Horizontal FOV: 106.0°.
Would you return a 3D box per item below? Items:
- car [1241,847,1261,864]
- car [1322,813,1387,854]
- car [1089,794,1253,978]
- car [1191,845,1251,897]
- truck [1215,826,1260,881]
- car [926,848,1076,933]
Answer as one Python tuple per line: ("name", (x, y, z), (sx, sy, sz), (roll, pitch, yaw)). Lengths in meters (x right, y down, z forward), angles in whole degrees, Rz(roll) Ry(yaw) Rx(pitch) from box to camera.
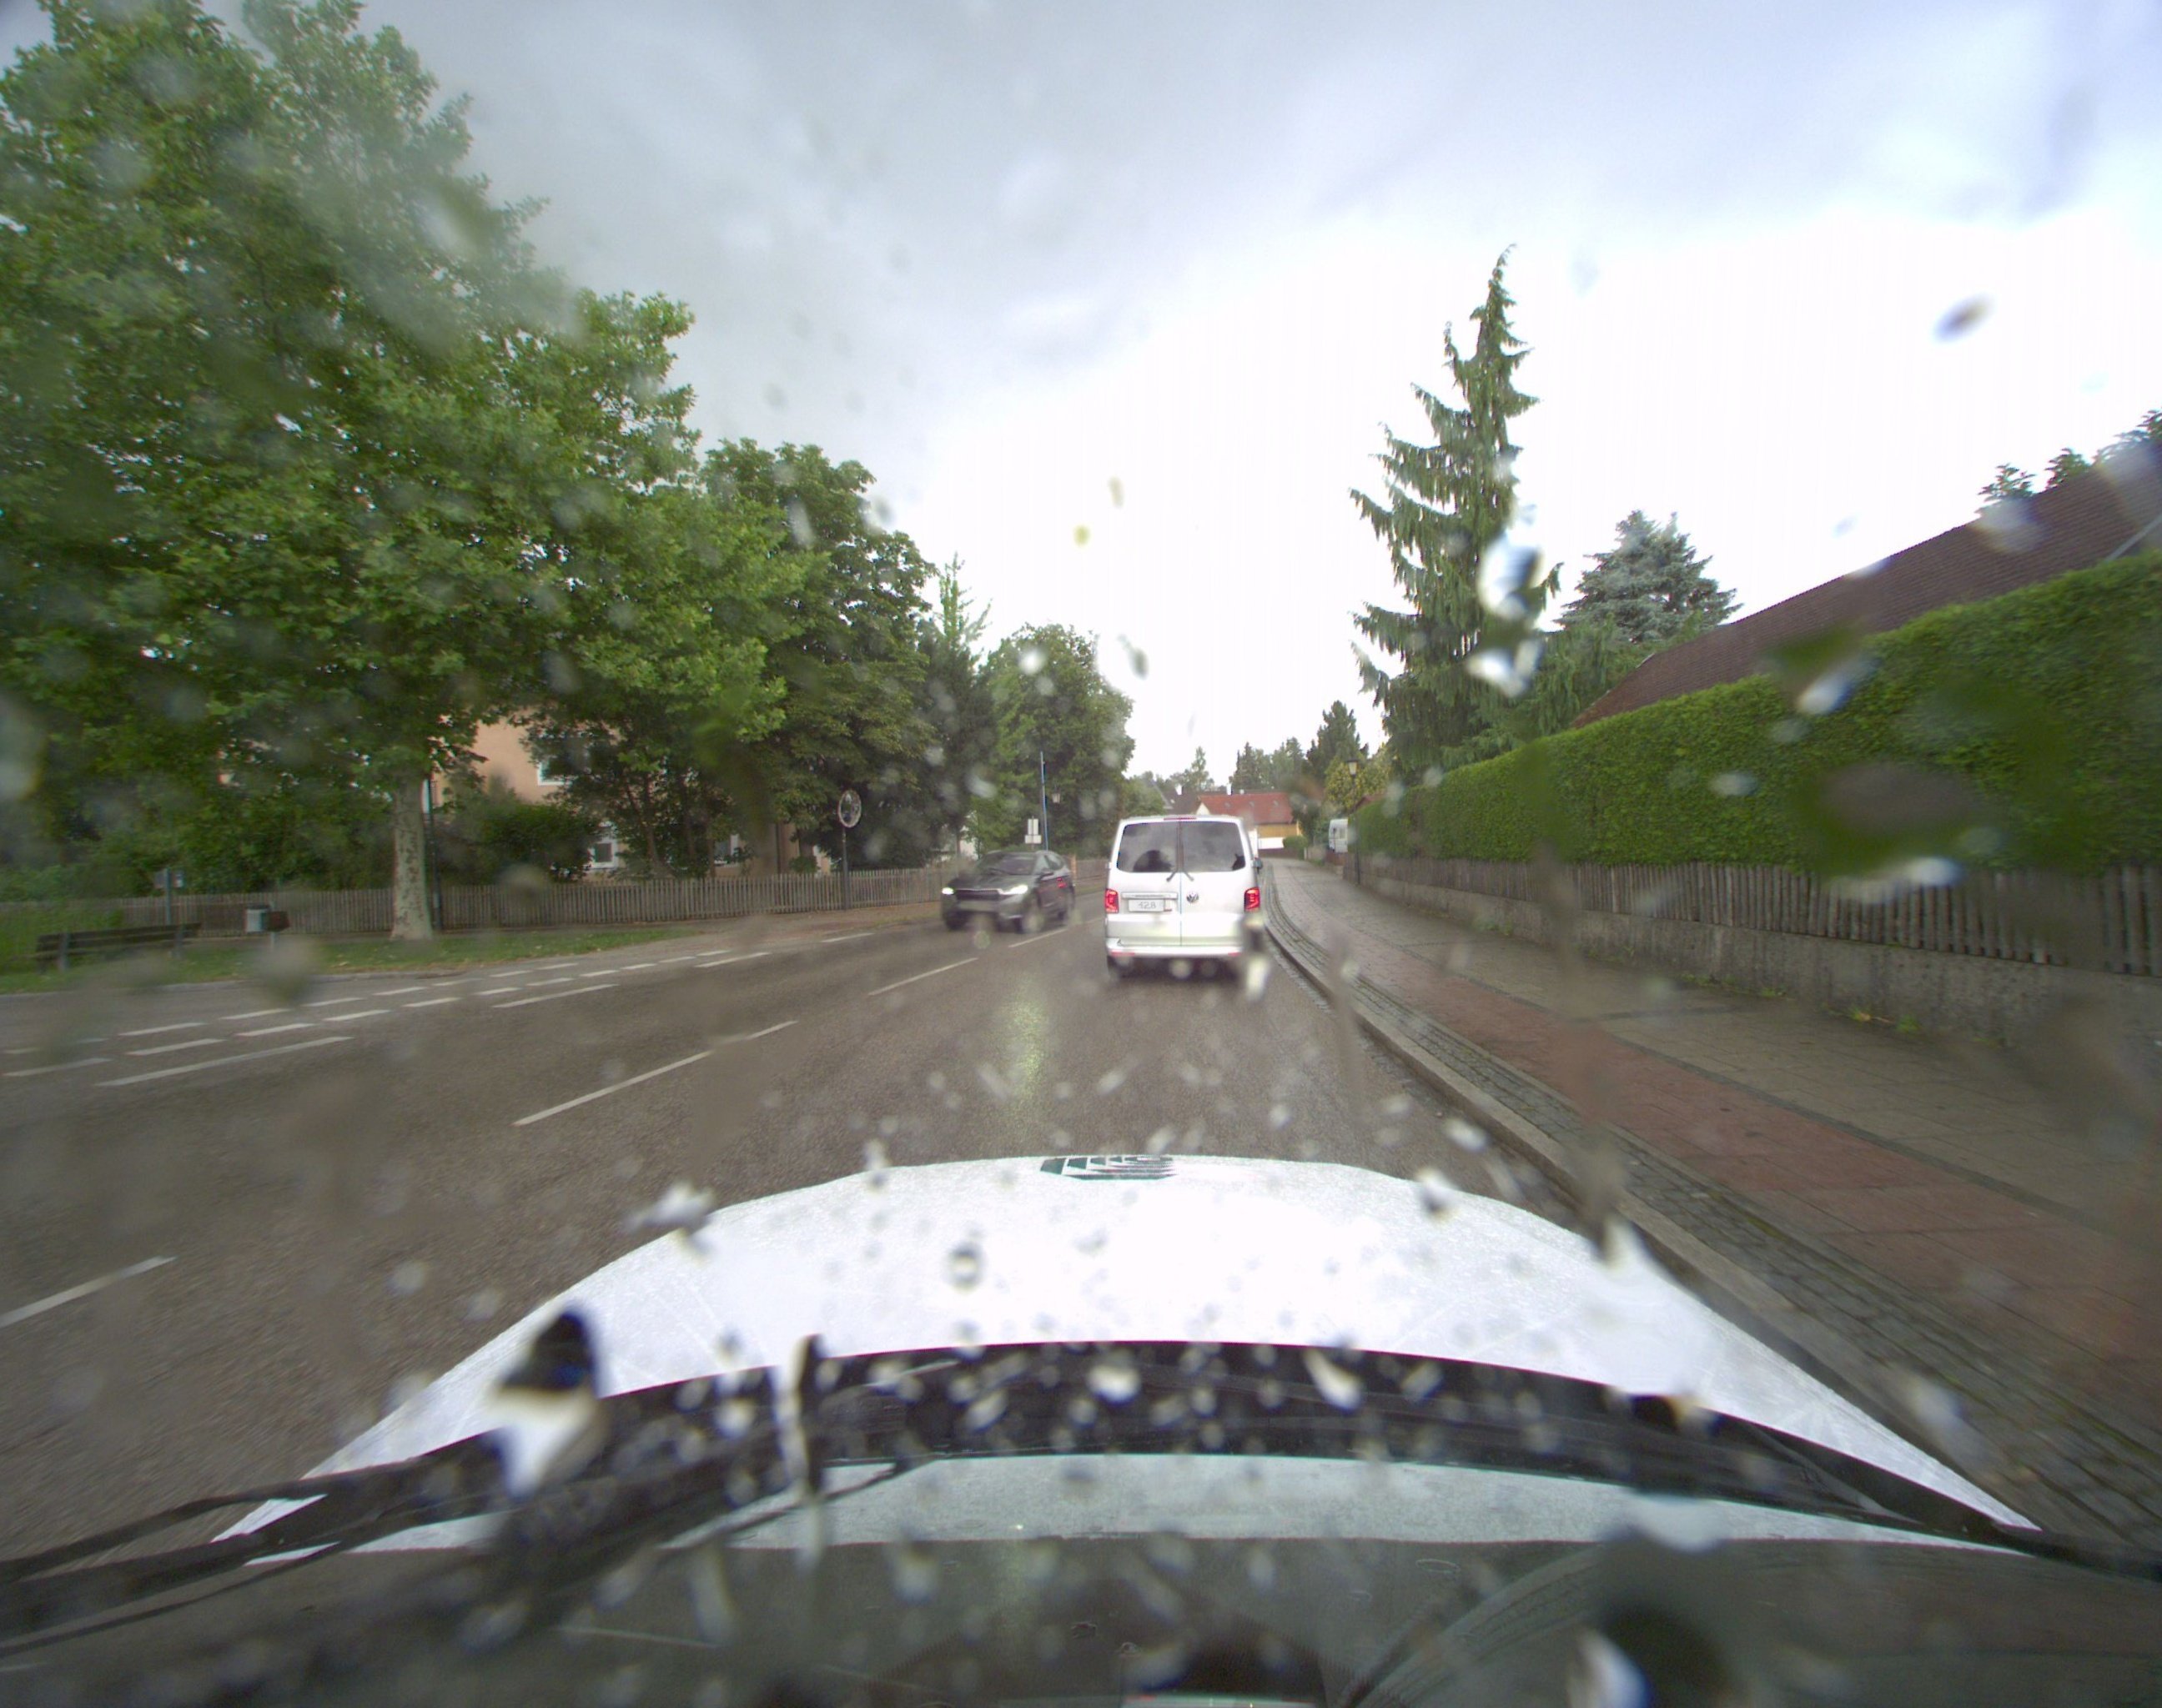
("car", (15.763, 0.183, 75.429), (1.788, 1.508, 4.013), (-1, -1, 12))
("car", (15.481, -1.109, 46.331), (1.987, 2.173, 4.951), (0, -1, -1))
("car", (1.246, 0.371, 11.023), (1.791, 2.014, 4.008), (-1, -1, 7))
("car", (4.755, 0.546, 27.341), (1.788, 1.588, 4.013), (-1, -1, 12))
("truck", (9.597, 0.004, 49.532), (2.459, 3.074, 6.317), (-1, -1, 12))
("car", (-1.551, 0.682, 17.557), (1.980, 1.595, 4.206), (-1, 0, 12))
